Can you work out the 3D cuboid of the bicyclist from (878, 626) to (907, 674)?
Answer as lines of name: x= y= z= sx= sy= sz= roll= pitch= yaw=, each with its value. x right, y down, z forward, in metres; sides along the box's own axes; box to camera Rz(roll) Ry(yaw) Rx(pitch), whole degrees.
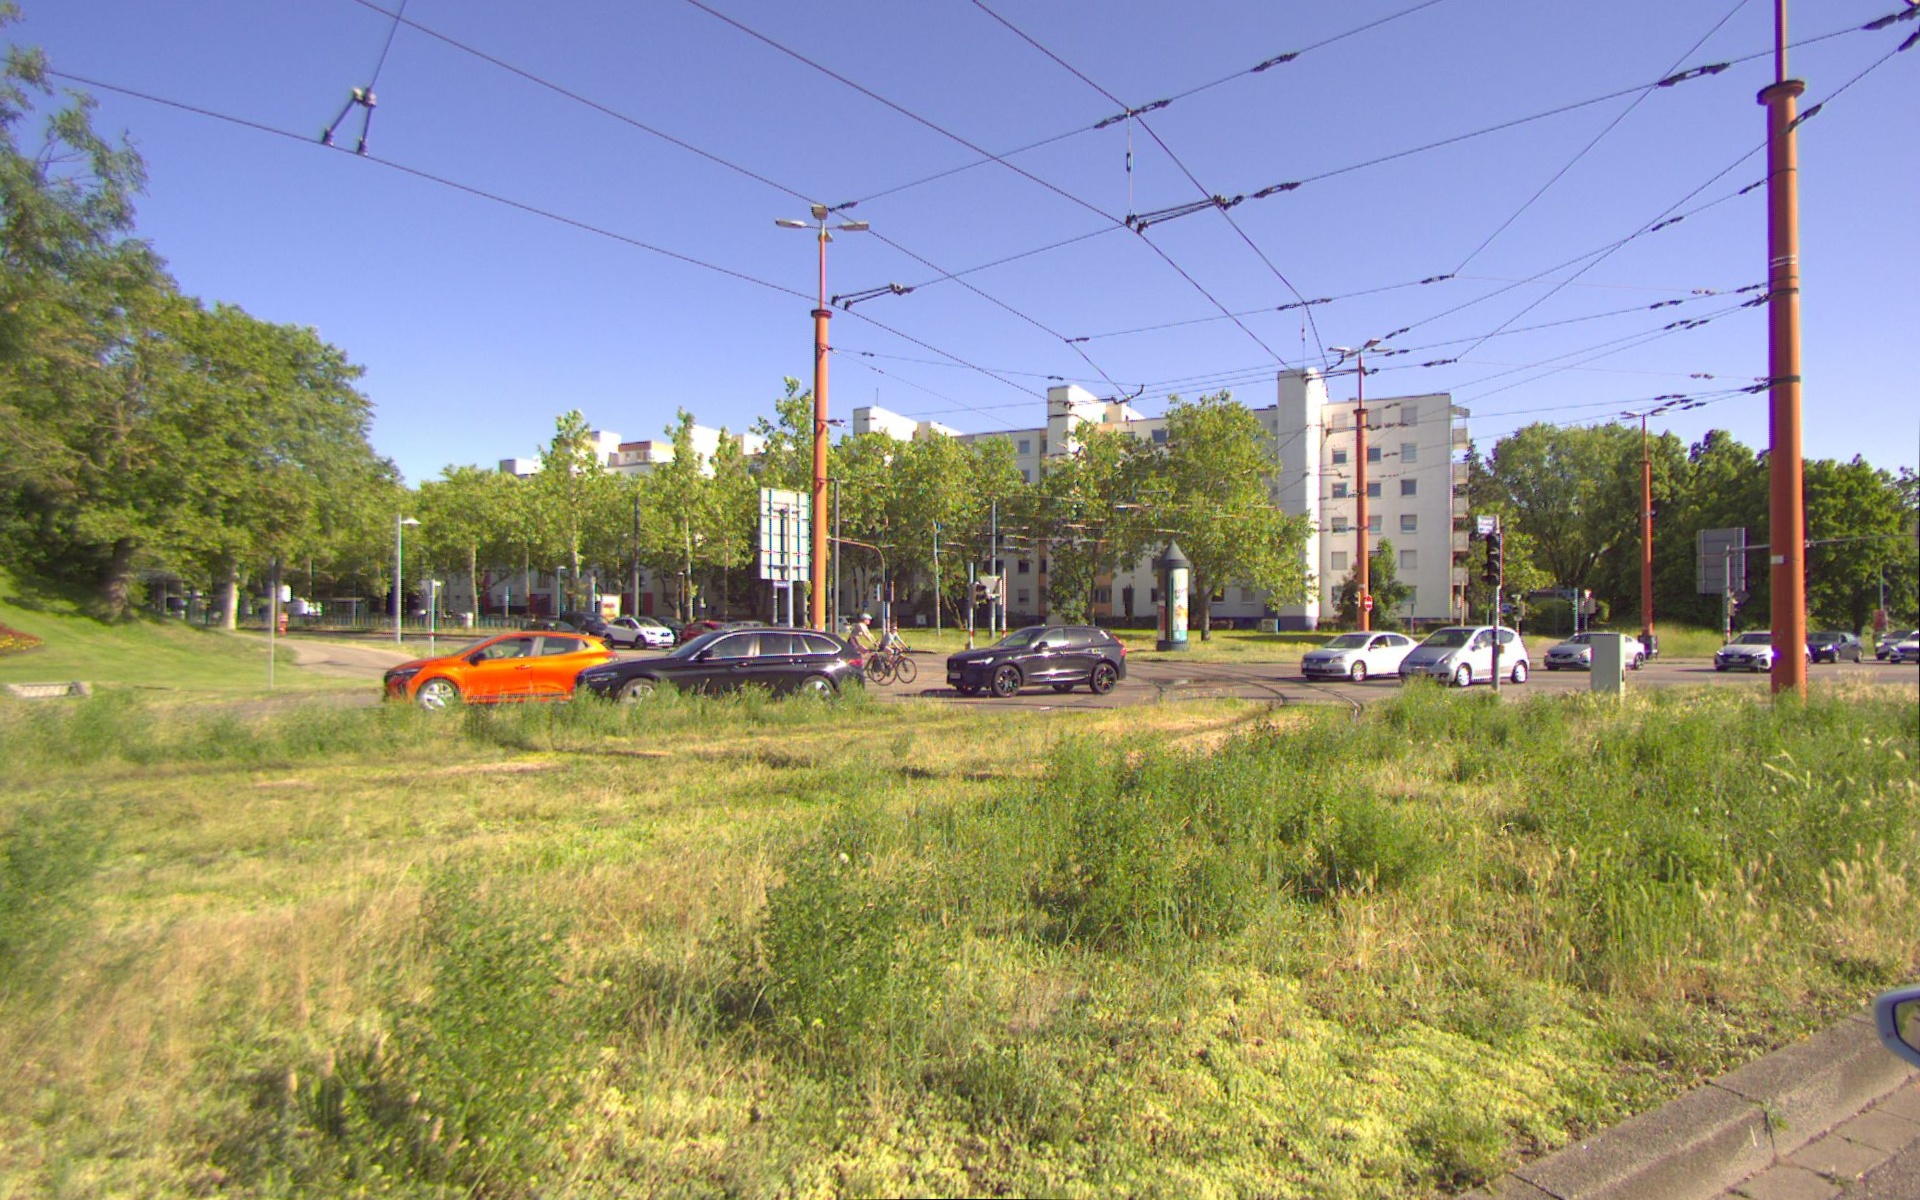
bicyclist: x=-1.921 y=1.423 z=28.639 sx=0.686 sy=1.340 sz=0.549 roll=1 pitch=0 yaw=13

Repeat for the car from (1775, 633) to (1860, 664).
car: x=40.103 y=2.250 z=46.962 sx=3.985 sy=1.359 sz=1.852 roll=2 pitch=-2 yaw=-31

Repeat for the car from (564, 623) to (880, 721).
car: x=-4.034 y=1.169 z=17.251 sx=4.929 sy=1.428 sz=1.985 roll=2 pitch=0 yaw=-29

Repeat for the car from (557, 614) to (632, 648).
car: x=-20.906 y=1.755 z=57.398 sx=3.928 sy=1.773 sz=1.909 roll=1 pitch=0 yaw=30

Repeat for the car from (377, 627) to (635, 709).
car: x=-8.227 y=1.191 z=18.314 sx=4.129 sy=1.315 sz=1.649 roll=2 pitch=0 yaw=-31

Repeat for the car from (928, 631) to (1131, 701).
car: x=1.707 y=1.546 z=24.236 sx=4.576 sy=1.500 sz=1.984 roll=2 pitch=0 yaw=-30

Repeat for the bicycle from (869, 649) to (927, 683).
bicycle: x=-1.758 y=1.865 z=28.585 sx=1.593 sy=0.894 sz=0.368 roll=1 pitch=0 yaw=13

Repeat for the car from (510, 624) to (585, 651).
car: x=-22.435 y=2.007 z=54.611 sx=3.928 sy=1.339 sz=1.733 roll=1 pitch=0 yaw=30

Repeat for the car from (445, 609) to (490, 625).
car: x=-52.543 y=1.858 z=107.238 sx=3.935 sy=1.617 sz=1.889 roll=1 pitch=0 yaw=-17

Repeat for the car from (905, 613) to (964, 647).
car: x=-1.876 y=2.174 z=72.875 sx=3.935 sy=2.341 sz=1.889 roll=1 pitch=0 yaw=-17

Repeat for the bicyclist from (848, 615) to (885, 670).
bicyclist: x=-2.499 y=1.124 z=27.006 sx=0.742 sy=1.449 sz=0.752 roll=1 pitch=0 yaw=15

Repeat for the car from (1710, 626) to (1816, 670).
car: x=29.244 y=1.723 z=36.555 sx=4.132 sy=1.492 sz=1.582 roll=0 pitch=-2 yaw=-29

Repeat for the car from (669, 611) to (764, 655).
car: x=-11.650 y=1.561 z=47.998 sx=4.198 sy=1.926 sz=1.997 roll=1 pitch=0 yaw=30

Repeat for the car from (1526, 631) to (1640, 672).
car: x=23.486 y=1.913 z=37.829 sx=4.353 sy=1.392 sz=1.982 roll=2 pitch=-1 yaw=-33

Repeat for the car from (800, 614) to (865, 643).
car: x=-9.265 y=2.067 z=72.909 sx=4.329 sy=2.040 sz=1.996 roll=0 pitch=-1 yaw=30

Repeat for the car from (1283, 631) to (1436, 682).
car: x=12.287 y=1.697 z=30.803 sx=4.640 sy=1.451 sz=1.984 roll=2 pitch=-2 yaw=-31

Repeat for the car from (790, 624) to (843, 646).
car: x=-11.409 y=2.772 z=79.807 sx=3.935 sy=1.617 sz=1.889 roll=1 pitch=0 yaw=-17

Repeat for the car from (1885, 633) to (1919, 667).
car: x=43.326 y=2.223 z=44.892 sx=4.589 sy=1.441 sz=1.695 roll=2 pitch=-2 yaw=-31

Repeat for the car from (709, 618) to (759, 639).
car: x=-19.154 y=2.426 z=85.114 sx=3.935 sy=1.617 sz=1.889 roll=1 pitch=0 yaw=-17

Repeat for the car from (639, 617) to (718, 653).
car: x=-15.229 y=1.858 z=54.361 sx=3.928 sy=1.773 sz=1.909 roll=1 pitch=0 yaw=30

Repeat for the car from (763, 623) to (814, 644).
car: x=-13.951 y=2.730 z=81.714 sx=3.935 sy=1.617 sz=1.889 roll=1 pitch=0 yaw=-17

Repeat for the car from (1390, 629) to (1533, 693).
car: x=13.750 y=1.632 z=27.506 sx=3.713 sy=1.629 sz=1.755 roll=2 pitch=-2 yaw=-30

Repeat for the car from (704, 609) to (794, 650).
car: x=-10.771 y=1.491 z=51.175 sx=4.198 sy=1.926 sz=1.997 roll=1 pitch=0 yaw=30

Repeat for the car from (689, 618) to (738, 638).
car: x=-21.279 y=2.392 z=86.698 sx=3.935 sy=1.617 sz=1.889 roll=1 pitch=0 yaw=-17

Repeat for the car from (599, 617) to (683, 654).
car: x=-16.348 y=1.793 z=51.443 sx=3.928 sy=1.773 sz=1.909 roll=1 pitch=0 yaw=30

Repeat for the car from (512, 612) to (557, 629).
car: x=-42.477 y=2.028 z=100.360 sx=3.935 sy=1.617 sz=1.889 roll=1 pitch=0 yaw=-17

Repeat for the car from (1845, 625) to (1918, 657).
car: x=49.435 y=2.205 z=53.874 sx=3.956 sy=1.597 sz=1.866 roll=2 pitch=0 yaw=-32

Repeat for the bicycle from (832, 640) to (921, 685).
bicycle: x=-2.241 y=1.665 z=26.927 sx=2.313 sy=1.095 sz=0.474 roll=1 pitch=0 yaw=15
